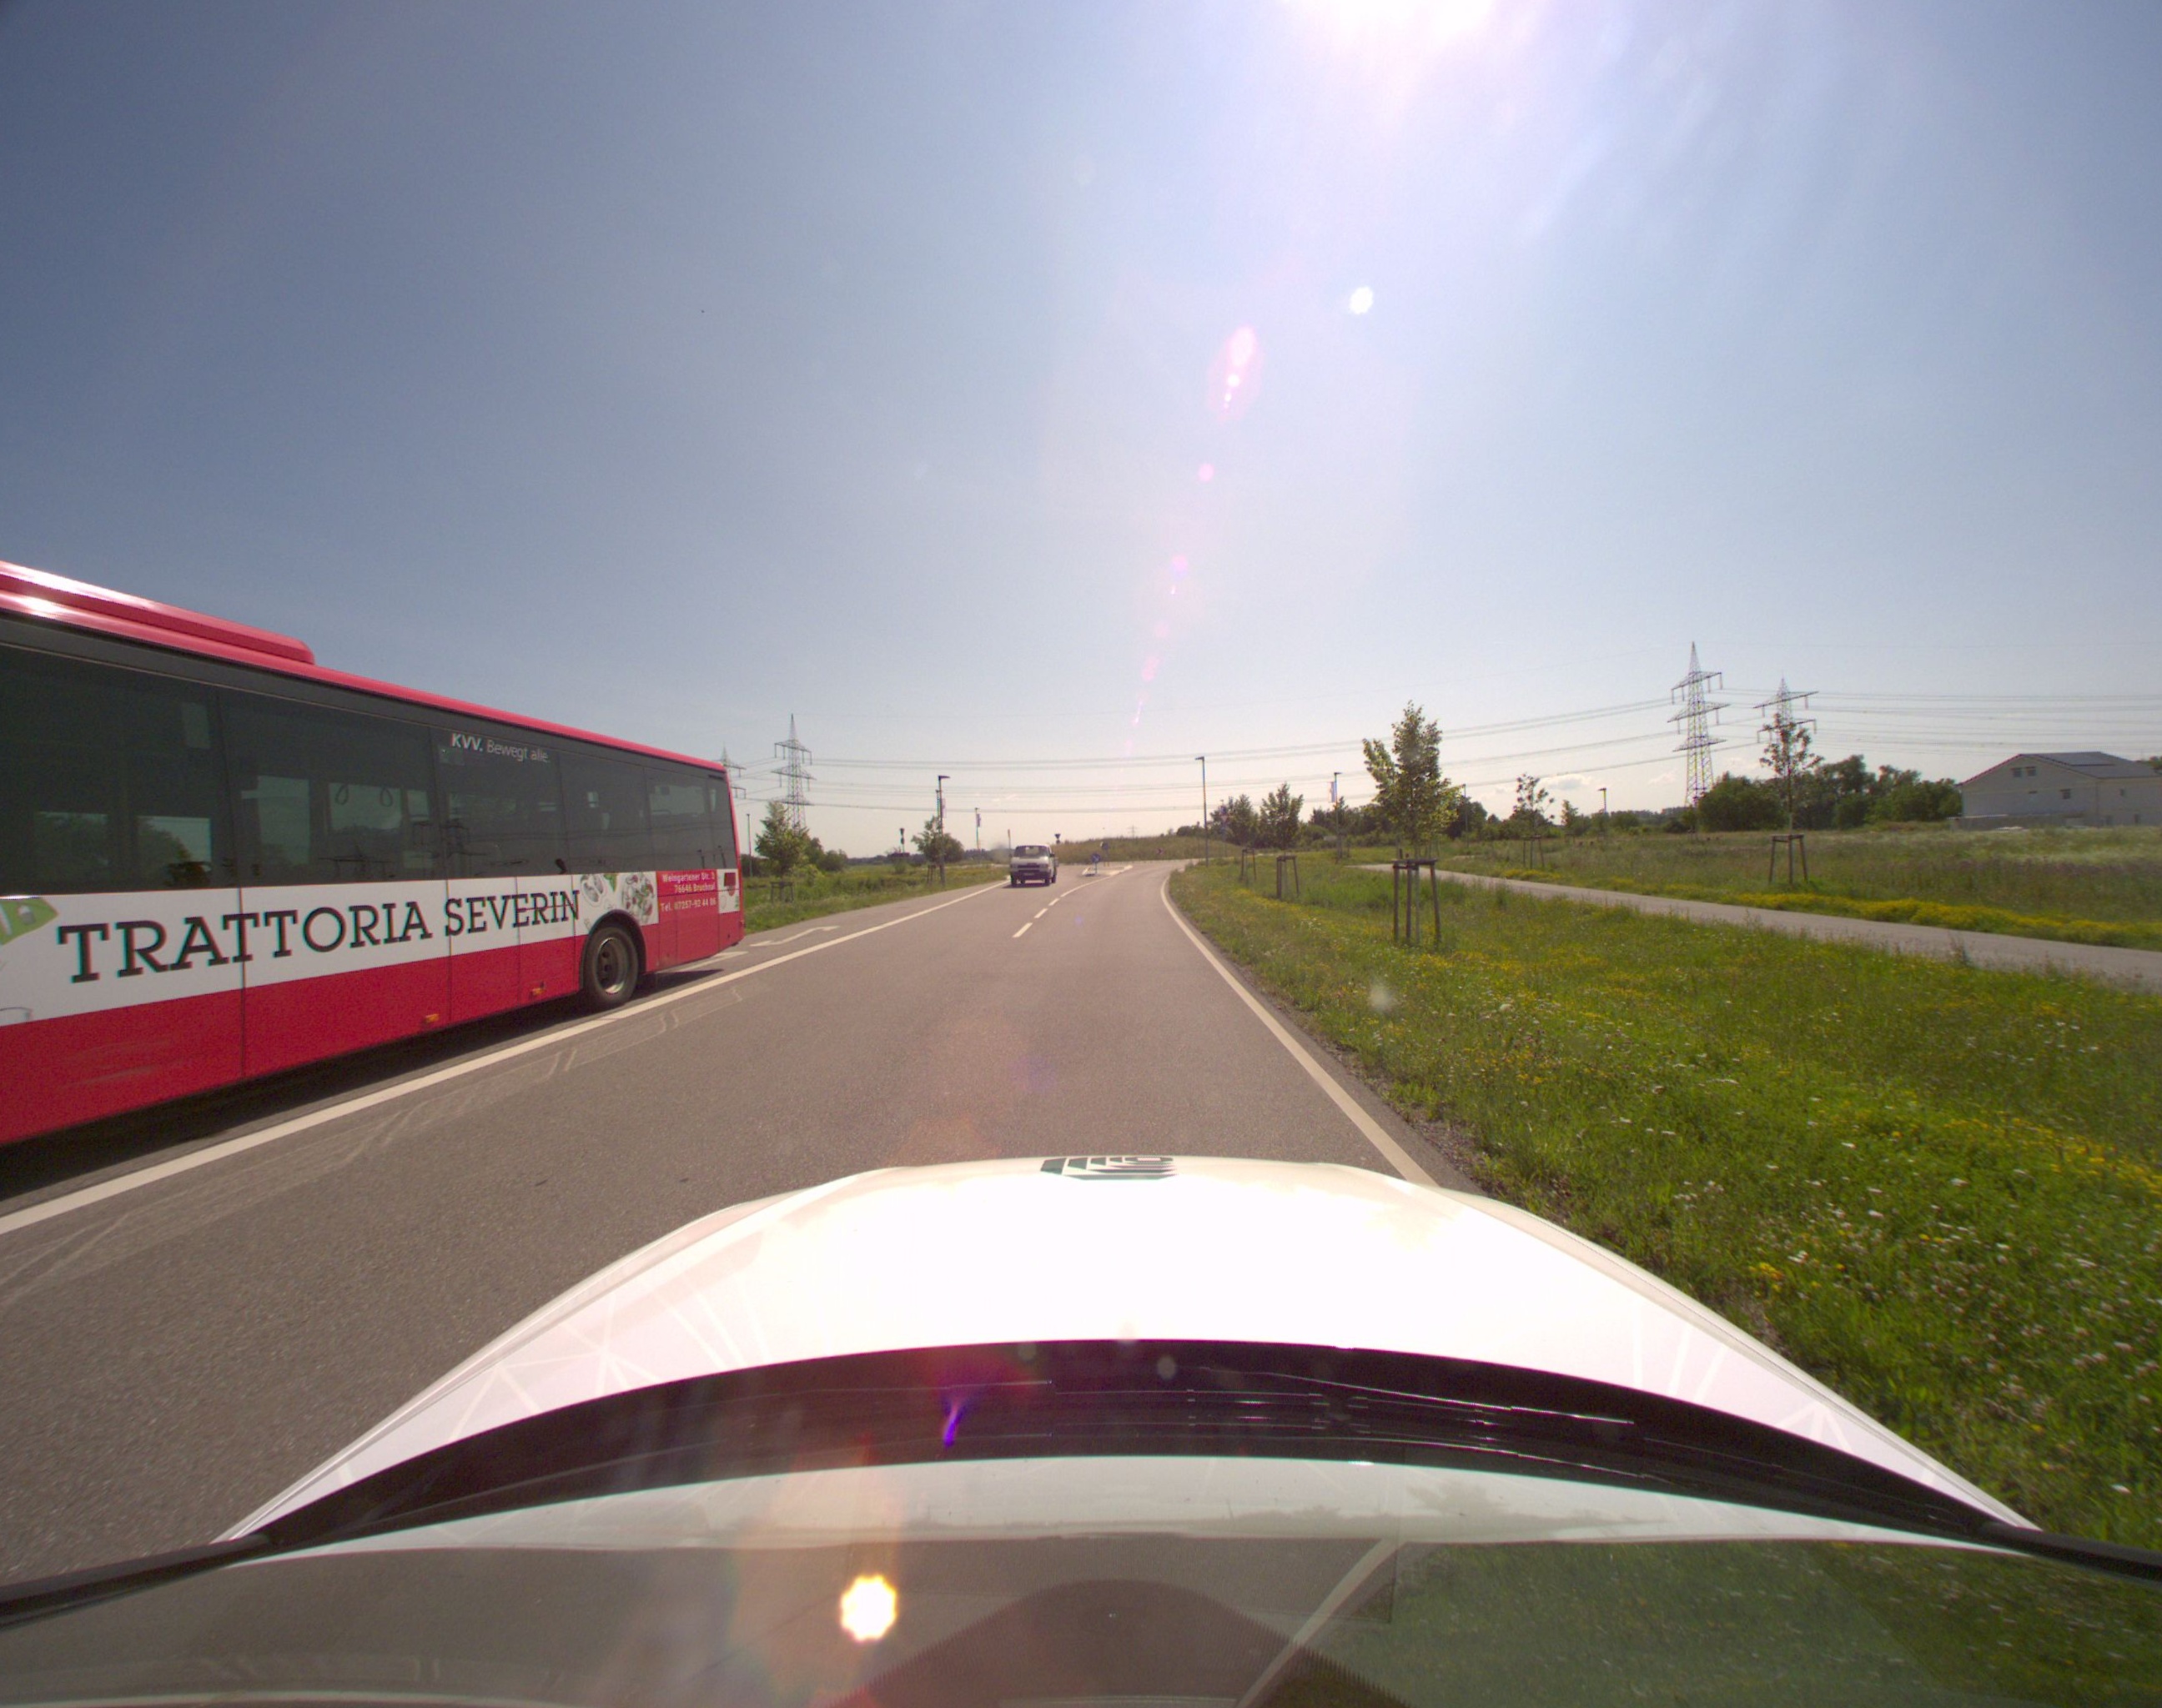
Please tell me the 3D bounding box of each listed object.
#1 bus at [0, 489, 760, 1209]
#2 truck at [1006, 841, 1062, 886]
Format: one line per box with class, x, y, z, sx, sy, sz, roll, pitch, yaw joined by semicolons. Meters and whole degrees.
bus;-6.300;0.011;5.976;2.785;3.287;12.229;-3;0;0
truck;-2.163;0.412;39.199;1.943;1.984;5.651;-1;0;4
